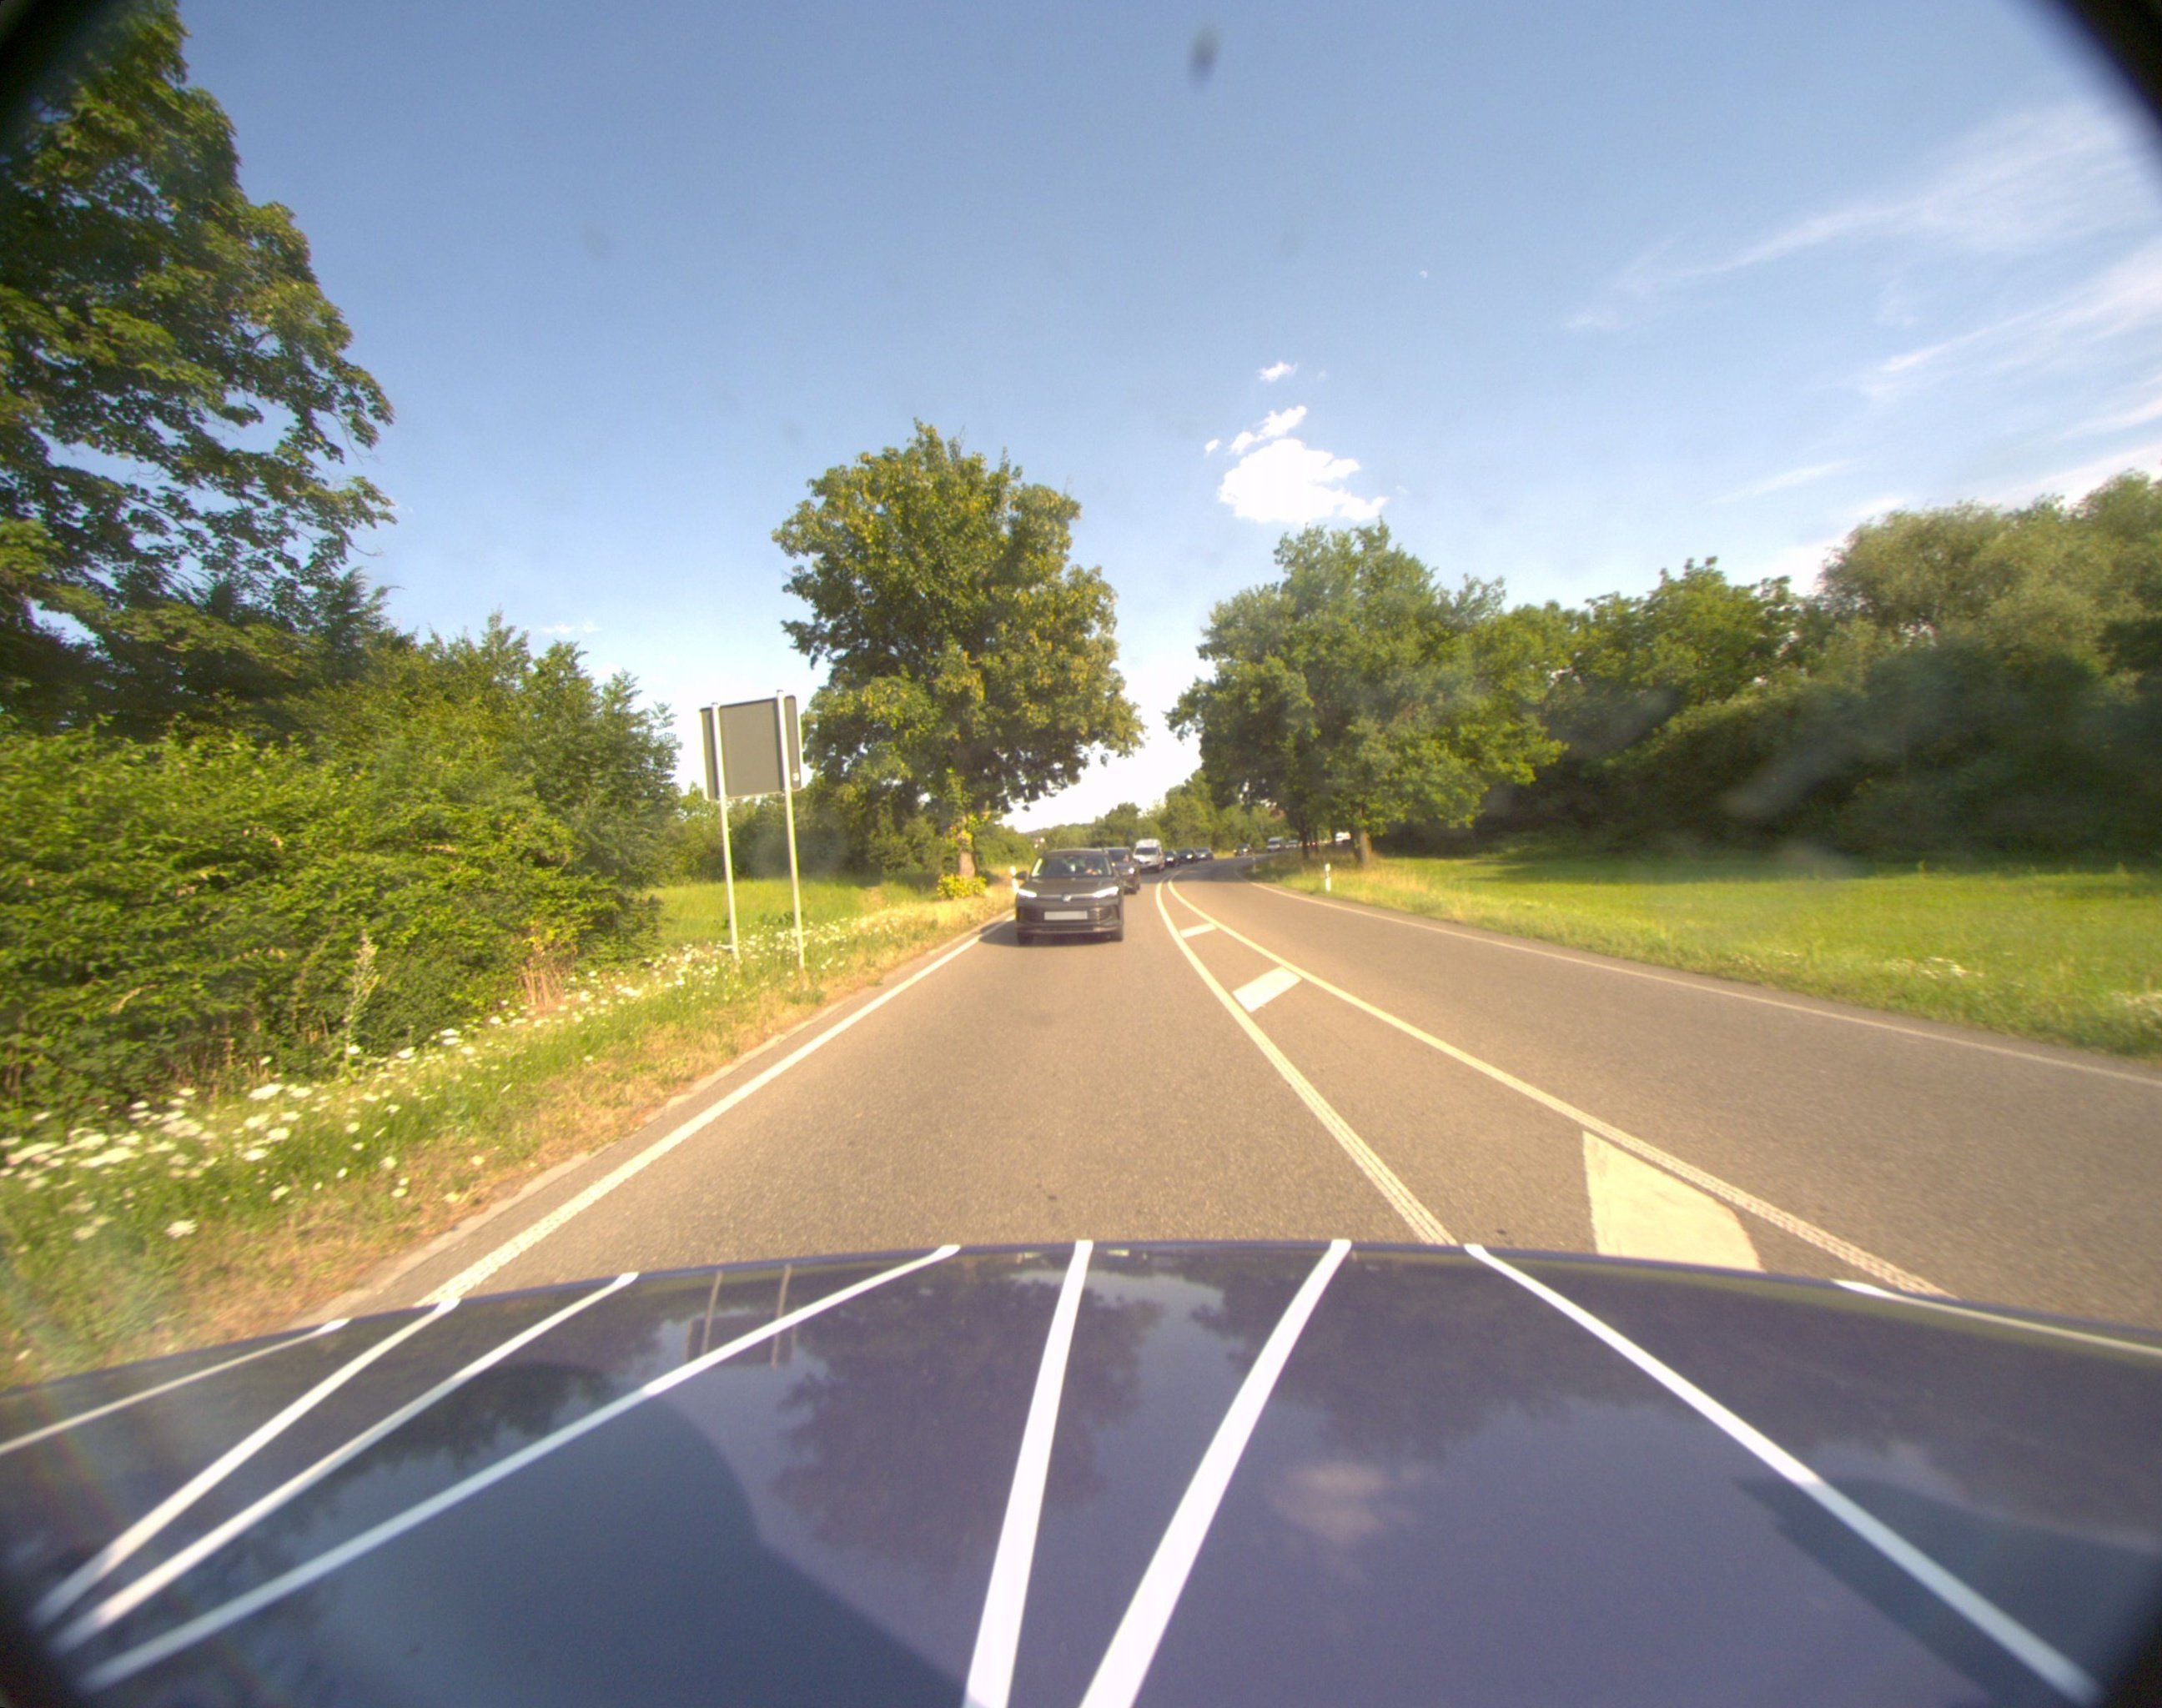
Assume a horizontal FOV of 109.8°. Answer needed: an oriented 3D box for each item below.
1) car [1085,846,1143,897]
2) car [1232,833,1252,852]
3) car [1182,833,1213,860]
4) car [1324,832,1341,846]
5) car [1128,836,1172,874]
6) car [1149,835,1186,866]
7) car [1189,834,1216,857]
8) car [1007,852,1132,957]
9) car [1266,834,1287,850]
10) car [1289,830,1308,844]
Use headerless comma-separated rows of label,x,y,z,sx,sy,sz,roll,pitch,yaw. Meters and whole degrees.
car,1.318,0.597,28.813,1.922,1.718,4.703,-2,0,4
car,22.033,-1.571,103.644,2.086,2.403,5.148,-2,1,18
car,11.275,-0.764,73.392,2.086,2.403,5.148,-2,1,18
car,46.882,-2.871,141.624,2.084,2.403,5.150,-2,1,29
car,4.832,0.020,52.586,2.086,2.403,5.146,-2,1,14
car,7.326,-0.319,63.914,2.086,2.403,5.148,-2,1,18
car,13.495,-0.959,84.208,2.086,2.403,5.148,-2,1,18
car,-0.033,0.814,14.589,1.922,1.612,4.703,-2,0,4
car,32.919,-2.053,128.131,2.084,2.403,5.150,-2,1,29
car,40.238,-3.199,140.498,2.084,2.403,5.150,-2,1,29
